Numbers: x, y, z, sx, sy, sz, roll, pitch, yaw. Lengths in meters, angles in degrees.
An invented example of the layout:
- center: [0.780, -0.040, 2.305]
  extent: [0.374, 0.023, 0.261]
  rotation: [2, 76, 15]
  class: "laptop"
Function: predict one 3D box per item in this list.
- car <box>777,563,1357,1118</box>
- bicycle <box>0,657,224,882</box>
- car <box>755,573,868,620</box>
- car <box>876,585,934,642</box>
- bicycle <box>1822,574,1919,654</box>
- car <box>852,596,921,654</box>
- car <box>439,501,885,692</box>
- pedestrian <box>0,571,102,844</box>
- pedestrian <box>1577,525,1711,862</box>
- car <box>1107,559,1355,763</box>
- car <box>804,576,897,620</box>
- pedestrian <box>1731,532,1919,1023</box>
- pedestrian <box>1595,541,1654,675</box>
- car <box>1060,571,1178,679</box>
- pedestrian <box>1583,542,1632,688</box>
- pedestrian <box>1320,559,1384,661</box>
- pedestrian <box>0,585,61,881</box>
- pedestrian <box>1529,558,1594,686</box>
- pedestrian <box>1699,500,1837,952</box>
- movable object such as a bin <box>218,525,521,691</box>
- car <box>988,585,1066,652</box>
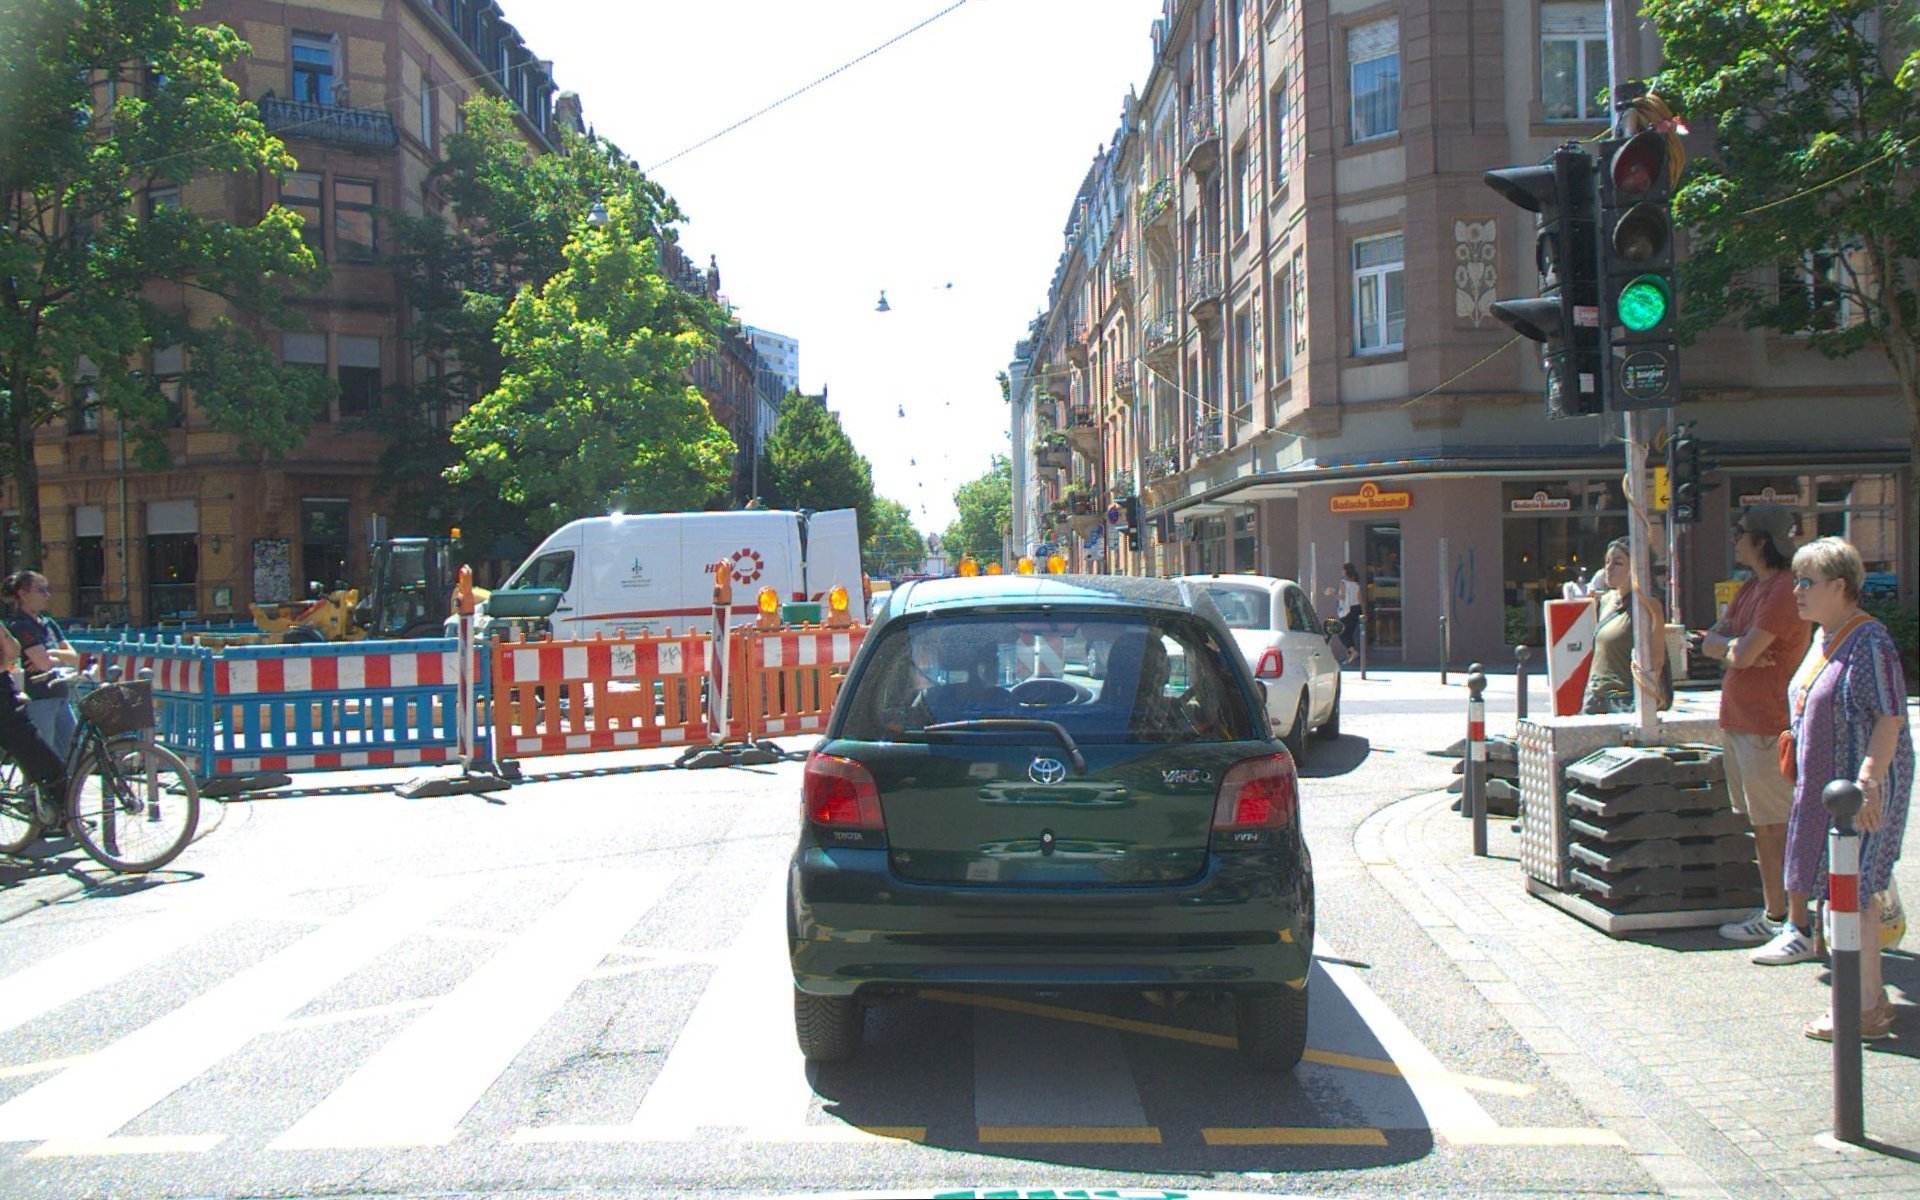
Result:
- center: [0.364, 0.630, 6.167]
  extent: [1.580, 1.511, 3.242]
  rotation: [0, 1, 3]
  class: "car"
- center: [-5.011, 0.918, 9.316]
  extent: [1.767, 1.139, 0.468]
  rotation: [0, 1, 21]
  class: "bicycle"
- center: [-6.748, -0.180, 75.310]
  extent: [4.723, 2.029, 2.033]
  rotation: [-1, 0, -30]
  class: "car"
- center: [-1.808, 0.429, 55.417]
  extent: [1.719, 1.673, 4.377]
  rotation: [-4, 0, -1]
  class: "car"
- center: [14.199, 0.207, 25.069]
  extent: [1.938, 1.151, 0.517]
  rotation: [-1, 2, 17]
  class: "bicycle"
- center: [-1.986, 0.662, 45.731]
  extent: [1.719, 1.469, 3.999]
  rotation: [-2, 0, -1]
  class: "car"
- center: [-4.477, -0.058, 25.759]
  extent: [6.485, 2.799, 2.380]
  rotation: [0, 0, 0]
  class: "car"
- center: [-5.654, 0.651, 10.268]
  extent: [0.382, 1.646, 0.475]
  rotation: [-1, 0, -3]
  class: "pedestrian"
- center: [3.323, 0.442, 8.060]
  extent: [0.450, 1.587, 0.479]
  rotation: [-1, 0, 5]
  class: "pedestrian"
- center: [2.447, 0.446, 14.360]
  extent: [1.491, 1.547, 3.264]
  rotation: [-1, 1, 20]
  class: "car"
- center: [-5.779, -0.106, 87.547]
  extent: [4.506, 2.226, 1.982]
  rotation: [-1, 0, -28]
  class: "car"
- center: [2.977, 0.574, 5.577]
  extent: [0.482, 1.570, 0.437]
  rotation: [-3, 0, 5]
  class: "pedestrian"
- center: [9.231, 0.106, 22.974]
  extent: [0.564, 1.799, 0.470]
  rotation: [-4, 4, -9]
  class: "pedestrian"
- center: [2.548, 0.372, 27.018]
  extent: [1.492, 1.620, 3.263]
  rotation: [-1, 1, -2]
  class: "car"
- center: [7.986, 0.186, 20.407]
  extent: [0.467, 1.763, 0.872]
  rotation: [-1, -1, 18]
  class: "pedestrian"
- center: [6.488, 0.167, 27.381]
  extent: [0.638, 1.652, 0.791]
  rotation: [-1, 0, -43]
  class: "pedestrian"
- center: [-5.353, 0.718, 9.162]
  extent: [0.486, 1.593, 0.459]
  rotation: [1, 1, 25]
  class: "pedestrian"
- center: [8.237, 0.293, 22.656]
  extent: [0.688, 1.673, 0.422]
  rotation: [-4, 4, -9]
  class: "pedestrian"
- center: [3.141, 0.476, 6.447]
  extent: [0.325, 1.705, 0.402]
  rotation: [-1, 0, 5]
  class: "pedestrian"
- center: [-9.964, 0.137, 28.193]
  extent: [4.451, 2.705, 1.954]
  rotation: [0, 0, -2]
  class: "movable object such as a bin"
- center: [1.628, 0.399, 39.263]
  extent: [1.593, 1.457, 3.663]
  rotation: [-2, 0, 6]
  class: "car"
